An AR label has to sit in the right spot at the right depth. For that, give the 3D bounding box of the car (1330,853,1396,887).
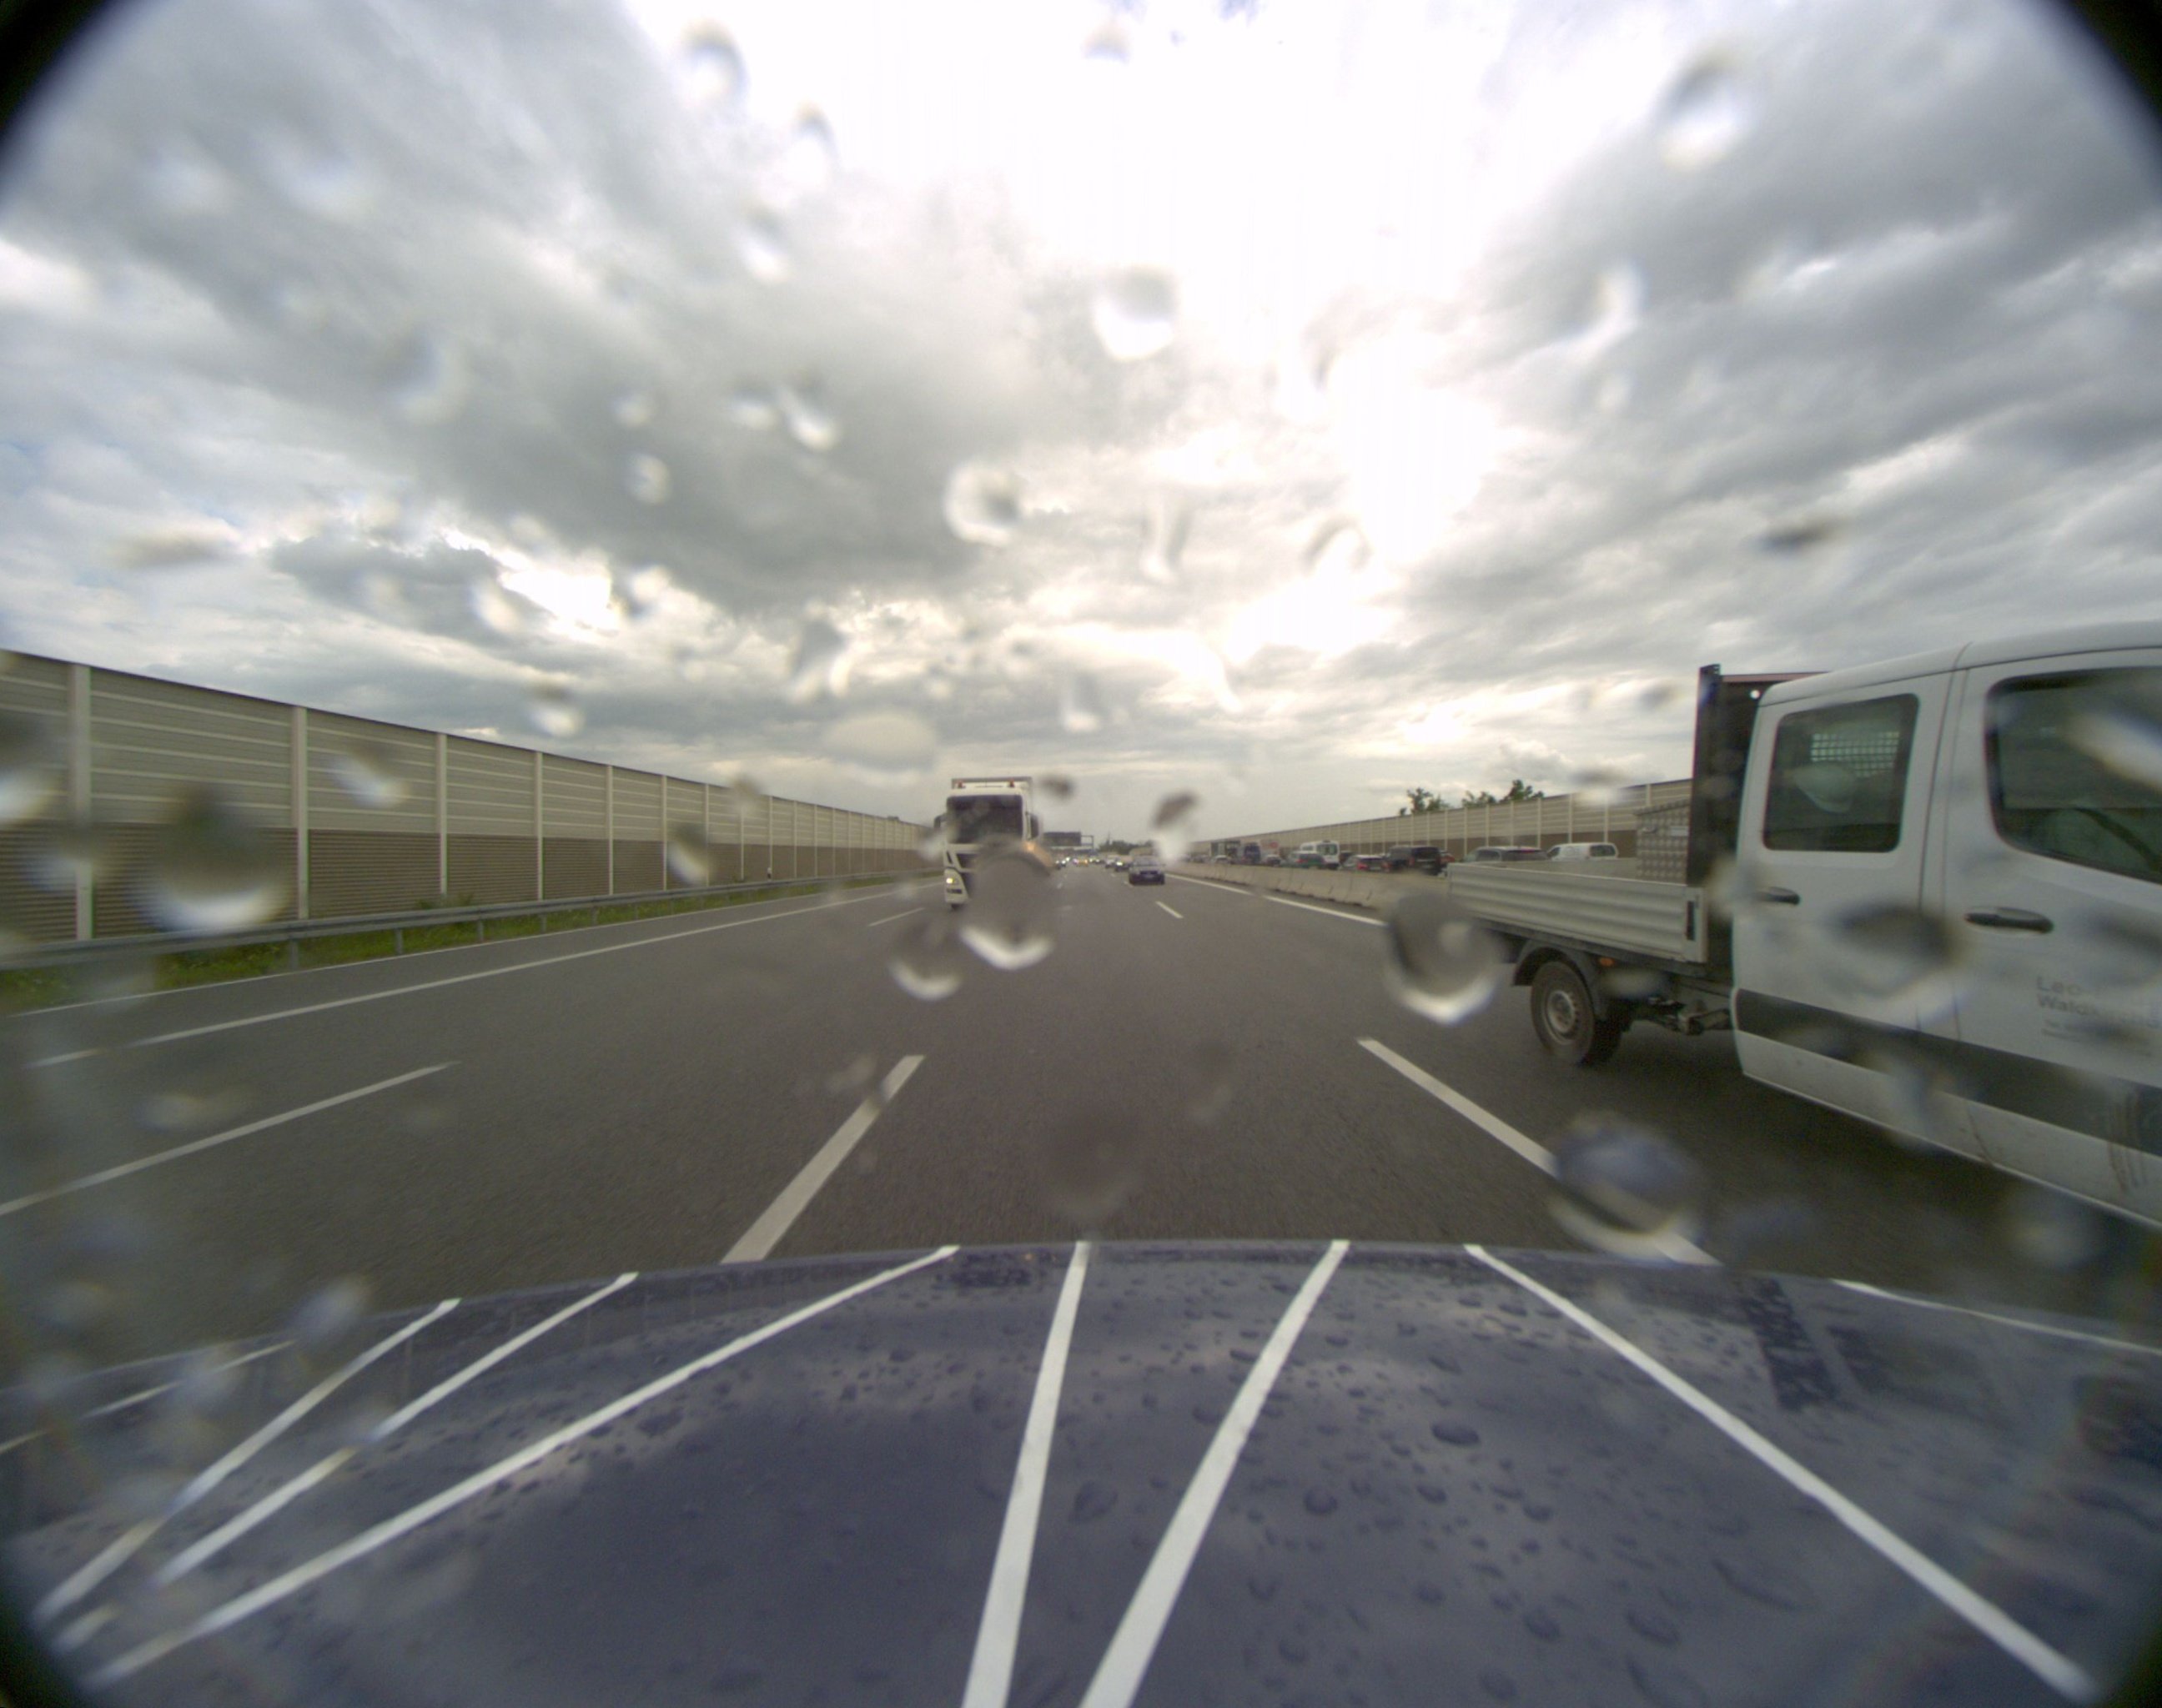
[{"bbox_3d":[14.653,0.808,39.712,1.817,1.622,4.208,-1,0,-1],"label":"car"}]

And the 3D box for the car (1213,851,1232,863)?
[{"bbox_3d":[22.458,0.479,120.722,2.120,1.924,4.932,-1,0,-1],"label":"car"}]

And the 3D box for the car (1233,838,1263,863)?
[{"bbox_3d":[18.695,-0.409,85.266,2.133,2.733,4.931,-1,0,-2],"label":"car"}]

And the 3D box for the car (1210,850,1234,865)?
[{"bbox_3d":[15.019,0.388,81.043,1.641,1.496,4.362,-1,0,-2],"label":"car"}]

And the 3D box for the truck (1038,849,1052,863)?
[{"bbox_3d":[-7.910,0.392,168.163,2.599,3.037,9.701,-1,1,0],"label":"truck"}]

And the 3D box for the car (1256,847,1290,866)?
[{"bbox_3d":[18.652,0.212,74.086,2.132,1.697,4.932,-1,0,0],"label":"car"}]

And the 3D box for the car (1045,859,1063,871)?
[{"bbox_3d":[-2.983,1.200,85.330,1.776,1.248,4.479,-1,1,0],"label":"car"}]

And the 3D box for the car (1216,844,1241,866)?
[{"bbox_3d":[19.117,0.160,98.471,2.133,2.733,4.931,-1,0,-2],"label":"car"}]

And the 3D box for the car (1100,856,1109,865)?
[{"bbox_3d":[3.975,1.091,129.327,1.498,1.395,4.000,-1,1,2],"label":"car"}]

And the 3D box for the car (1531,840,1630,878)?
[{"bbox_3d":[26.152,0.230,39.999,1.812,1.808,4.977,-1,0,-2],"label":"car"}]

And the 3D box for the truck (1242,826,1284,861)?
[{"bbox_3d":[26.453,-1.499,111.042,3.225,4.829,11.696,-1,0,0],"label":"truck"}]

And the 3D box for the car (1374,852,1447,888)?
[{"bbox_3d":[18.742,0.850,43.443,2.031,1.886,4.680,-1,0,-2],"label":"car"}]

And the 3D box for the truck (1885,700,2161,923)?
[{"bbox_3d":[22.010,-0.831,16.014,3.078,4.220,6.692,-1,0,1],"label":"truck"}]

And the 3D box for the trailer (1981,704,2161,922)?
[{"bbox_3d":[21.973,-0.789,10.179,3.066,4.136,14.315,-1,0,1],"label":"trailer"}]

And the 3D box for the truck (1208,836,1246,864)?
[{"bbox_3d":[26.554,-0.747,139.172,3.448,4.829,17.227,-1,0,0],"label":"truck"}]

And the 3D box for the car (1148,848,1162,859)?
[{"bbox_3d":[13.886,-0.111,142.330,2.120,1.924,4.932,-1,0,-1],"label":"car"}]

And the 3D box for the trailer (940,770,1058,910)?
[{"bbox_3d":[-2.729,-0.491,30.065,2.925,4.188,13.195,-2,1,1],"label":"trailer"}]

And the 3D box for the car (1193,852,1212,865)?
[{"bbox_3d":[18.799,0.617,117.704,1.947,1.924,4.932,-1,0,-1],"label":"car"}]

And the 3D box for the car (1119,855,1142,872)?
[{"bbox_3d":[4.414,0.841,68.574,1.776,1.451,4.479,-1,1,0],"label":"car"}]

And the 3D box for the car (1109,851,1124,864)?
[{"bbox_3d":[4.115,0.409,88.270,1.732,1.395,4.000,-1,1,2],"label":"car"}]

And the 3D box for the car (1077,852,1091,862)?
[{"bbox_3d":[0.469,0.397,104.424,1.732,1.395,4.000,-1,1,2],"label":"car"}]

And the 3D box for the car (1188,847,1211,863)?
[{"bbox_3d":[14.589,0.084,93.979,1.947,1.924,4.932,-1,0,-1],"label":"car"}]

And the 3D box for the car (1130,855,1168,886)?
[{"bbox_3d":[3.353,0.764,38.150,1.578,1.395,4.000,-1,1,1],"label":"car"}]

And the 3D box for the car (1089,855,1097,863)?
[{"bbox_3d":[2.373,1.020,148.966,1.498,1.395,3.999,-1,1,-1],"label":"car"}]

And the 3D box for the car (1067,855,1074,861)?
[{"bbox_3d":[-2.499,0.998,183.137,1.498,1.395,4.000,-1,1,2],"label":"car"}]

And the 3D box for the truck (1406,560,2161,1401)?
[{"bbox_3d":[4.242,0.337,3.478,2.313,2.425,7.147,-1,0,-1],"label":"truck"}]

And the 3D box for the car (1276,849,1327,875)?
[{"bbox_3d":[14.631,0.526,50.692,1.925,1.622,4.695,-1,0,-2],"label":"car"}]

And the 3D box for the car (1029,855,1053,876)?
[{"bbox_3d":[-2.949,0.827,56.849,1.578,1.395,3.999,-1,1,0],"label":"car"}]

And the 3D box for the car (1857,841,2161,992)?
[{"bbox_3d":[14.592,0.775,10.671,1.938,1.886,5.432,-1,0,1],"label":"car"}]

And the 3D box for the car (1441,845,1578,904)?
[{"bbox_3d":[15.066,0.645,27.149,1.924,1.880,5.426,-1,0,1],"label":"car"}]

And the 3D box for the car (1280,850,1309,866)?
[{"bbox_3d":[26.959,0.494,95.908,2.133,1.857,4.931,-1,0,-2],"label":"car"}]

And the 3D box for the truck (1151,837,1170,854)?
[{"bbox_3d":[24.513,-2.670,235.453,3.714,5.029,17.225,-1,0,-1],"label":"truck"}]

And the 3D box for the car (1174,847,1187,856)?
[{"bbox_3d":[21.405,-0.562,163.830,2.120,1.924,4.932,-1,0,-1],"label":"car"}]

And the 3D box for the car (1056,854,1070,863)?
[{"bbox_3d":[-2.461,0.626,105.998,1.776,1.248,4.479,-1,1,0],"label":"car"}]

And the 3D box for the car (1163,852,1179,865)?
[{"bbox_3d":[14.109,0.627,119.347,1.947,1.924,4.932,-1,0,-1],"label":"car"}]

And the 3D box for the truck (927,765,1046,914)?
[{"bbox_3d":[-2.802,-0.429,24.202,2.913,4.146,5.192,-2,1,0],"label":"truck"}]

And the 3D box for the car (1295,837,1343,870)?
[{"bbox_3d":[18.735,-0.035,59.995,2.031,2.459,5.148,-1,0,-2],"label":"car"}]

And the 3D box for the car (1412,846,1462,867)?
[{"bbox_3d":[26.844,0.182,57.454,1.574,1.496,4.362,-1,0,-2],"label":"car"}]

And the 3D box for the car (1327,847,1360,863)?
[{"bbox_3d":[26.089,0.057,75.607,1.574,1.496,4.362,-1,0,-2],"label":"car"}]

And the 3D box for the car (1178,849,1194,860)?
[{"bbox_3d":[18.832,0.113,136.737,2.120,1.924,4.932,-1,0,-1],"label":"car"}]
